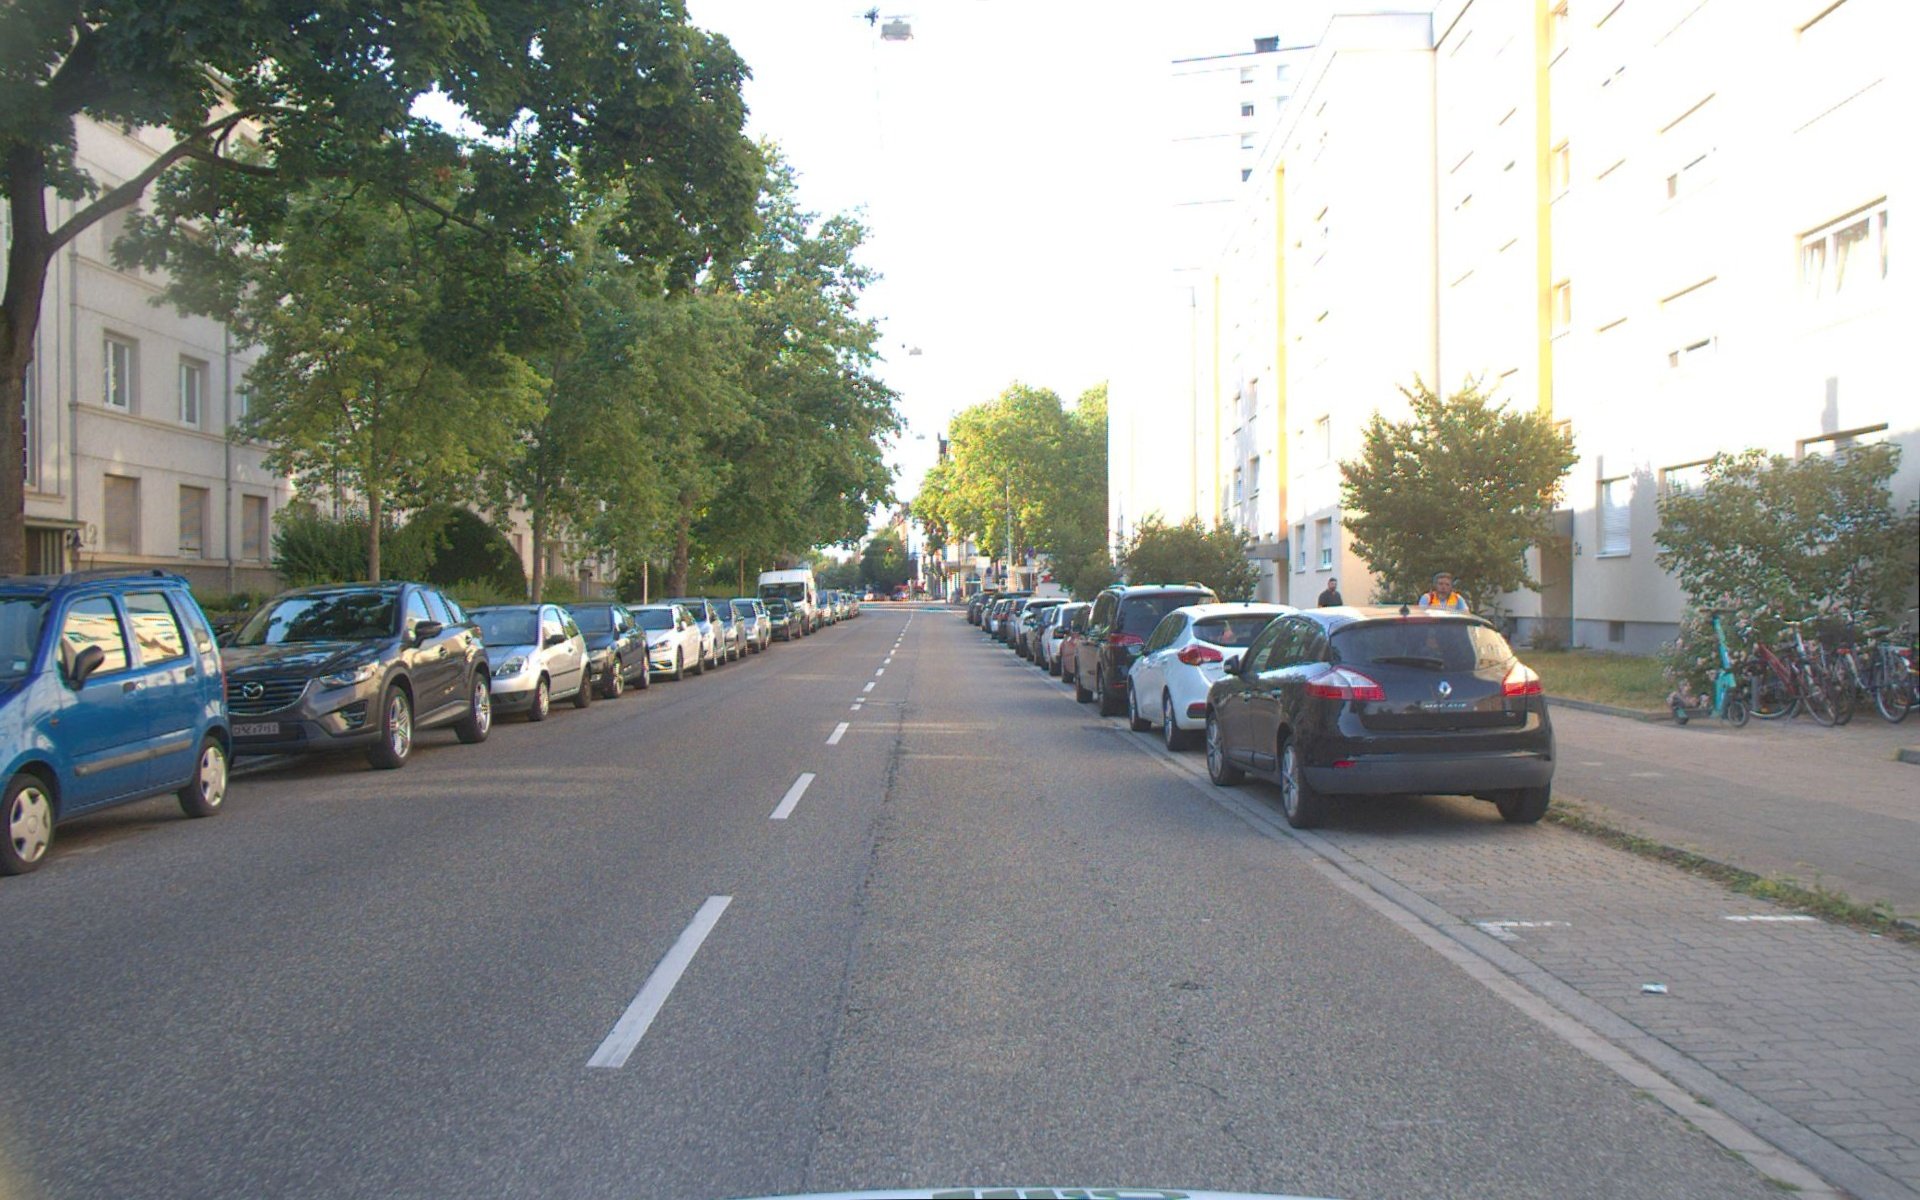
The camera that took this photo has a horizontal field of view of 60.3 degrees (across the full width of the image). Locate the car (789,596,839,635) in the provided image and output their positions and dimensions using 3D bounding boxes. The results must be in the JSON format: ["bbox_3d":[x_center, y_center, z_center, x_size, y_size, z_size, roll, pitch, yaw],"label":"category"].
[{"bbox_3d":[-6.315,0.661,71.712,1.833,1.585,4.364,2,-1,-1],"label":"car"}]

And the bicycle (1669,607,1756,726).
[{"bbox_3d":[8.036,0.694,17.689,0.326,1.213,1.240,2,-1,-1],"label":"bicycle"}]

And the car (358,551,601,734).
[{"bbox_3d":[-6.027,0.524,21.260,1.953,2.049,3.999,-2,-1,-1],"label":"car"}]

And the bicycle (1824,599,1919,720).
[{"bbox_3d":[9.521,0.607,17.265,0.326,1.213,1.240,2,-1,-1],"label":"bicycle"}]

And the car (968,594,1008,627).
[{"bbox_3d":[1.447,0.537,85.833,1.859,1.680,4.341,0,0,-2],"label":"car"}]

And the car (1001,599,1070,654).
[{"bbox_3d":[2.366,0.834,52.927,1.922,1.633,4.278,2,-1,-1],"label":"car"}]

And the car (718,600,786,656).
[{"bbox_3d":[-6.514,0.872,52.057,1.673,1.601,3.260,4,-1,-1],"label":"car"}]

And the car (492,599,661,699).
[{"bbox_3d":[-6.060,0.754,26.685,1.836,1.459,4.800,0,-1,-3],"label":"car"}]

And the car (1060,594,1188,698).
[{"bbox_3d":[2.806,0.785,29.057,1.736,1.645,3.999,2,-1,-1],"label":"car"}]

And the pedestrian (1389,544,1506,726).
[{"bbox_3d":[5.387,0.378,18.340,0.870,1.923,1.279,2,-1,-1],"label":"pedestrian"}]

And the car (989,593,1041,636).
[{"bbox_3d":[2.050,0.561,62.511,1.799,1.528,4.171,2,-1,0],"label":"car"}]

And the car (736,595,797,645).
[{"bbox_3d":[-6.631,0.701,56.949,1.672,1.601,3.818,2,-1,-1],"label":"car"}]

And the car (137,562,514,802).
[{"bbox_3d":[-5.653,0.674,15.438,1.836,1.790,4.686,-3,-1,-3],"label":"car"}]

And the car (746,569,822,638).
[{"bbox_3d":[-6.729,0.167,63.838,2.310,2.488,6.163,2,-1,-1],"label":"car"}]

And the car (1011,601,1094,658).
[{"bbox_3d":[2.513,0.811,45.869,1.836,1.468,3.997,2,-1,-3],"label":"car"}]

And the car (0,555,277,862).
[{"bbox_3d":[-5.923,0.554,10.242,1.836,1.579,3.997,2,-1,-3],"label":"car"}]

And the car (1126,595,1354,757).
[{"bbox_3d":[2.953,0.771,18.253,1.736,1.534,3.999,-2,-1,-1],"label":"car"}]

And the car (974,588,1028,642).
[{"bbox_3d":[1.393,0.528,57.814,1.799,1.803,3.978,1,-1,0],"label":"car"}]

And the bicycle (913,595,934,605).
[{"bbox_3d":[-5.082,0.011,229.431,2.750,1.224,0.509,2,-1,-8],"label":"bicycle"}]

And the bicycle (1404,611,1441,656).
[{"bbox_3d":[10.039,0.724,35.949,0.428,0.958,1.792,2,-1,4],"label":"bicycle"}]

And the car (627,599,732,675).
[{"bbox_3d":[-6.281,0.821,37.409,1.836,1.579,3.997,2,-1,-3],"label":"car"}]

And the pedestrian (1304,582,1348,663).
[{"bbox_3d":[7.814,0.477,35.338,0.750,1.687,0.536,-2,-1,-1],"label":"pedestrian"}]

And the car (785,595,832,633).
[{"bbox_3d":[-7.319,0.658,80.299,1.833,1.585,5.055,-4,1,-2],"label":"car"}]

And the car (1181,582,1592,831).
[{"bbox_3d":[3.019,0.706,12.803,1.763,1.533,4.618,-1,-1,-3],"label":"car"}]

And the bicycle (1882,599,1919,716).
[{"bbox_3d":[10.171,0.604,17.311,0.326,1.213,1.240,2,-1,-1],"label":"bicycle"}]

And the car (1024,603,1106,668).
[{"bbox_3d":[2.531,0.863,40.766,1.627,1.463,4.311,2,-1,-1],"label":"car"}]

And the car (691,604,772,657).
[{"bbox_3d":[-6.421,0.855,46.935,1.836,1.379,4.650,2,-1,-3],"label":"car"}]

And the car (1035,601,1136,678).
[{"bbox_3d":[2.642,0.832,35.548,1.736,1.479,3.999,-2,-1,-1],"label":"car"}]

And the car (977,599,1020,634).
[{"bbox_3d":[1.677,0.726,73.343,1.645,1.440,4.722,2,-1,-1],"label":"car"}]

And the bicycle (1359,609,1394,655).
[{"bbox_3d":[9.065,0.696,36.035,0.428,0.958,1.792,2,-1,4],"label":"bicycle"}]

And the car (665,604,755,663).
[{"bbox_3d":[-6.293,0.831,42.026,1.836,1.379,3.997,2,-1,-3],"label":"car"}]

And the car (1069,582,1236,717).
[{"bbox_3d":[2.660,0.675,23.817,1.736,1.707,4.645,2,-1,-1],"label":"car"}]

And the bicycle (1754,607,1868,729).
[{"bbox_3d":[8.817,0.688,17.174,0.327,1.213,1.236,2,-1,-13],"label":"bicycle"}]

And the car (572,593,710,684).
[{"bbox_3d":[-6.059,0.718,31.911,1.964,1.579,4.468,2,-1,-3],"label":"car"}]

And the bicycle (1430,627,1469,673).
[{"bbox_3d":[10.609,1.080,35.876,0.428,0.958,1.792,2,-1,4],"label":"bicycle"}]
